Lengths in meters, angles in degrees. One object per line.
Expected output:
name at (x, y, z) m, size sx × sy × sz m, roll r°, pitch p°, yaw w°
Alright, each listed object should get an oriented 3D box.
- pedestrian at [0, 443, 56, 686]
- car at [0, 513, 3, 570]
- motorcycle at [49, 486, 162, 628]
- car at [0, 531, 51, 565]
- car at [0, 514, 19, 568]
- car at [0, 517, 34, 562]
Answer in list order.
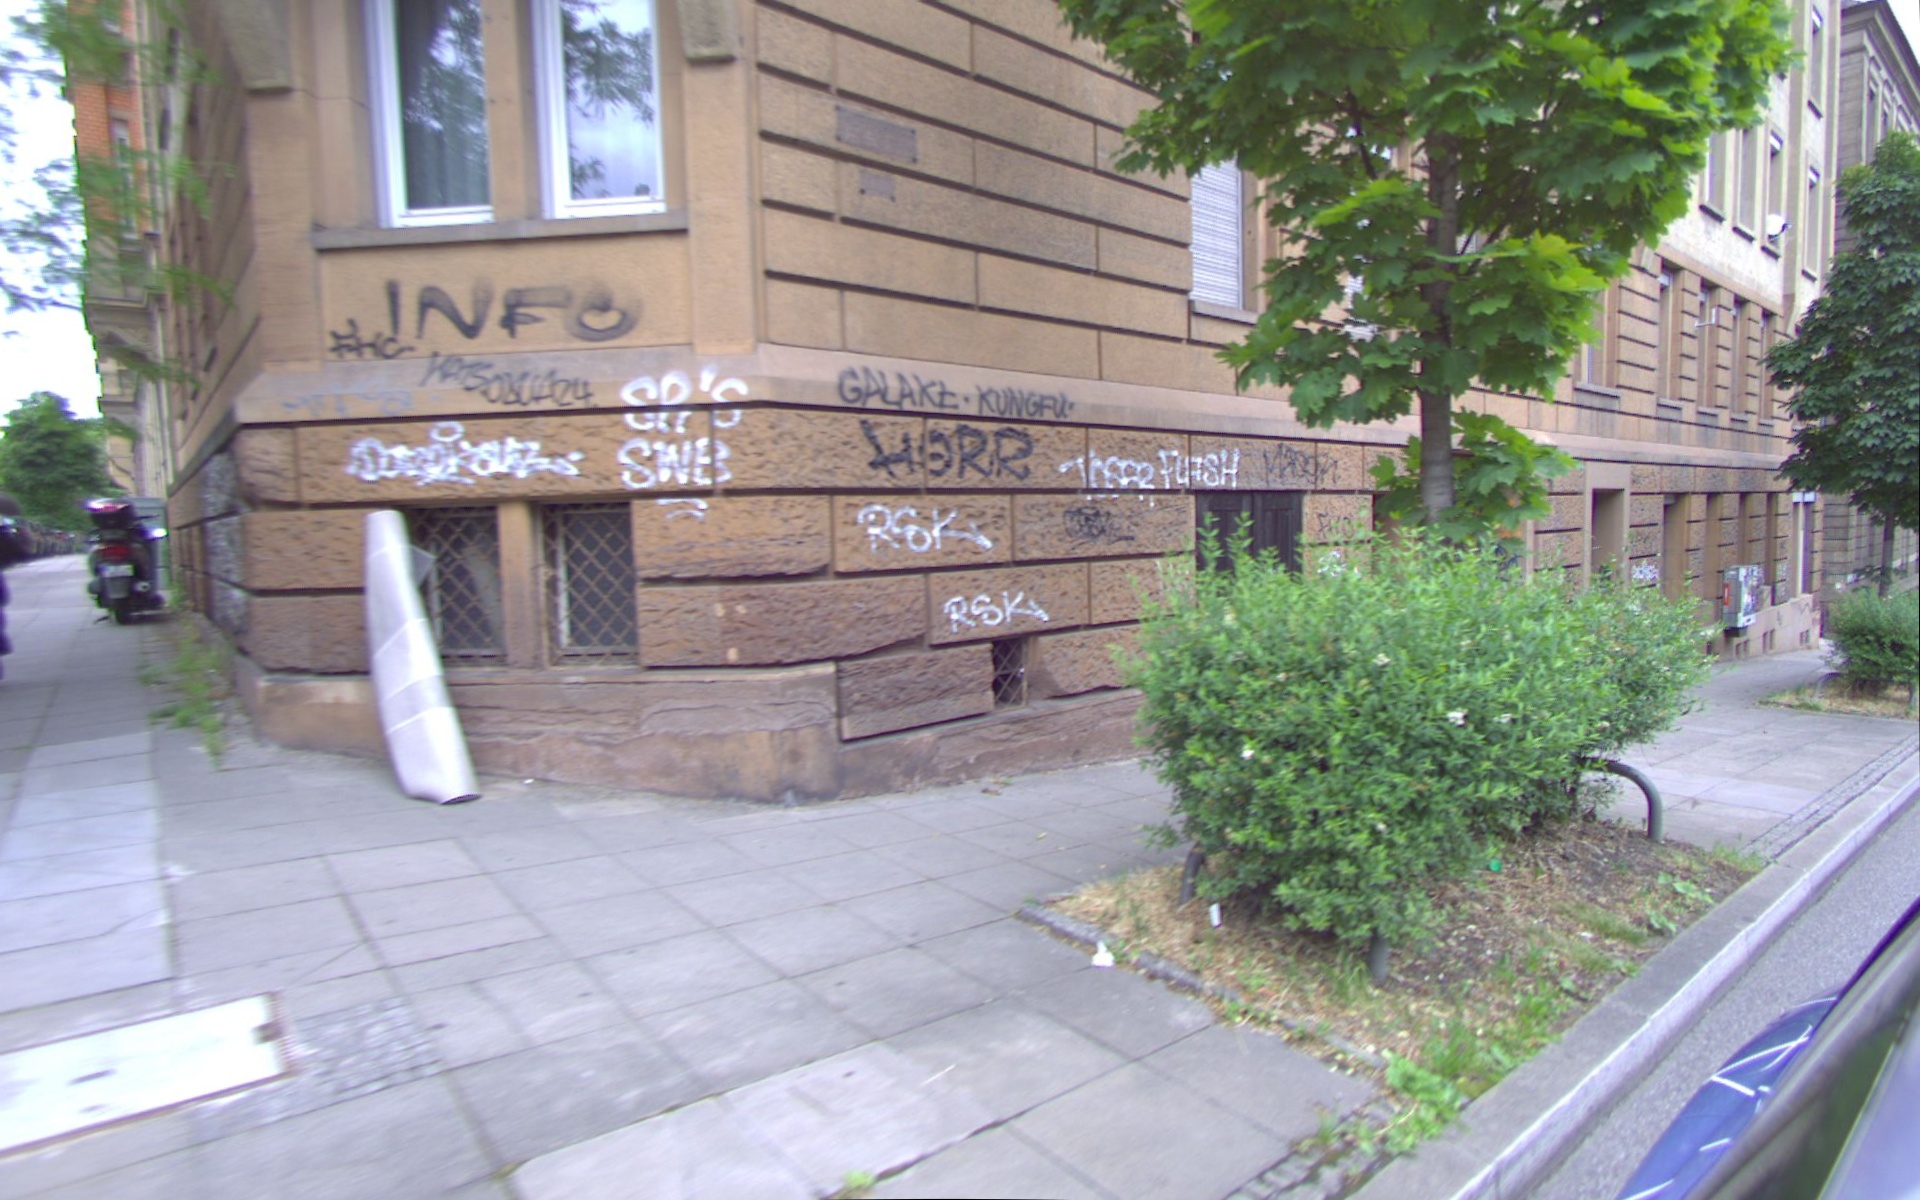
pedestrian at (-7.193, -0.264, 7.311) m, size 0.835 × 1.705 × 0.861 m, roll -6°, pitch 8°, yaw -40°
car at (-23.618, -1.403, 23.558) m, size 1.780 × 1.396 × 4.039 m, roll -1°, pitch 2°, yaw -41°
motorcycle at (-9.863, -0.536, 11.708) m, size 0.824 × 1.452 × 2.925 m, roll -4°, pitch 6°, yaw -40°
car at (-41.364, -2.281, 44.683) m, size 1.780 × 1.396 × 4.038 m, roll -1°, pitch 2°, yaw -41°
car at (-26.722, -1.633, 27.313) m, size 1.780 × 1.396 × 4.040 m, roll -1°, pitch 3°, yaw -41°
car at (-32.116, -1.991, 33.696) m, size 1.780 × 1.396 × 4.039 m, roll -1°, pitch 2°, yaw -41°
